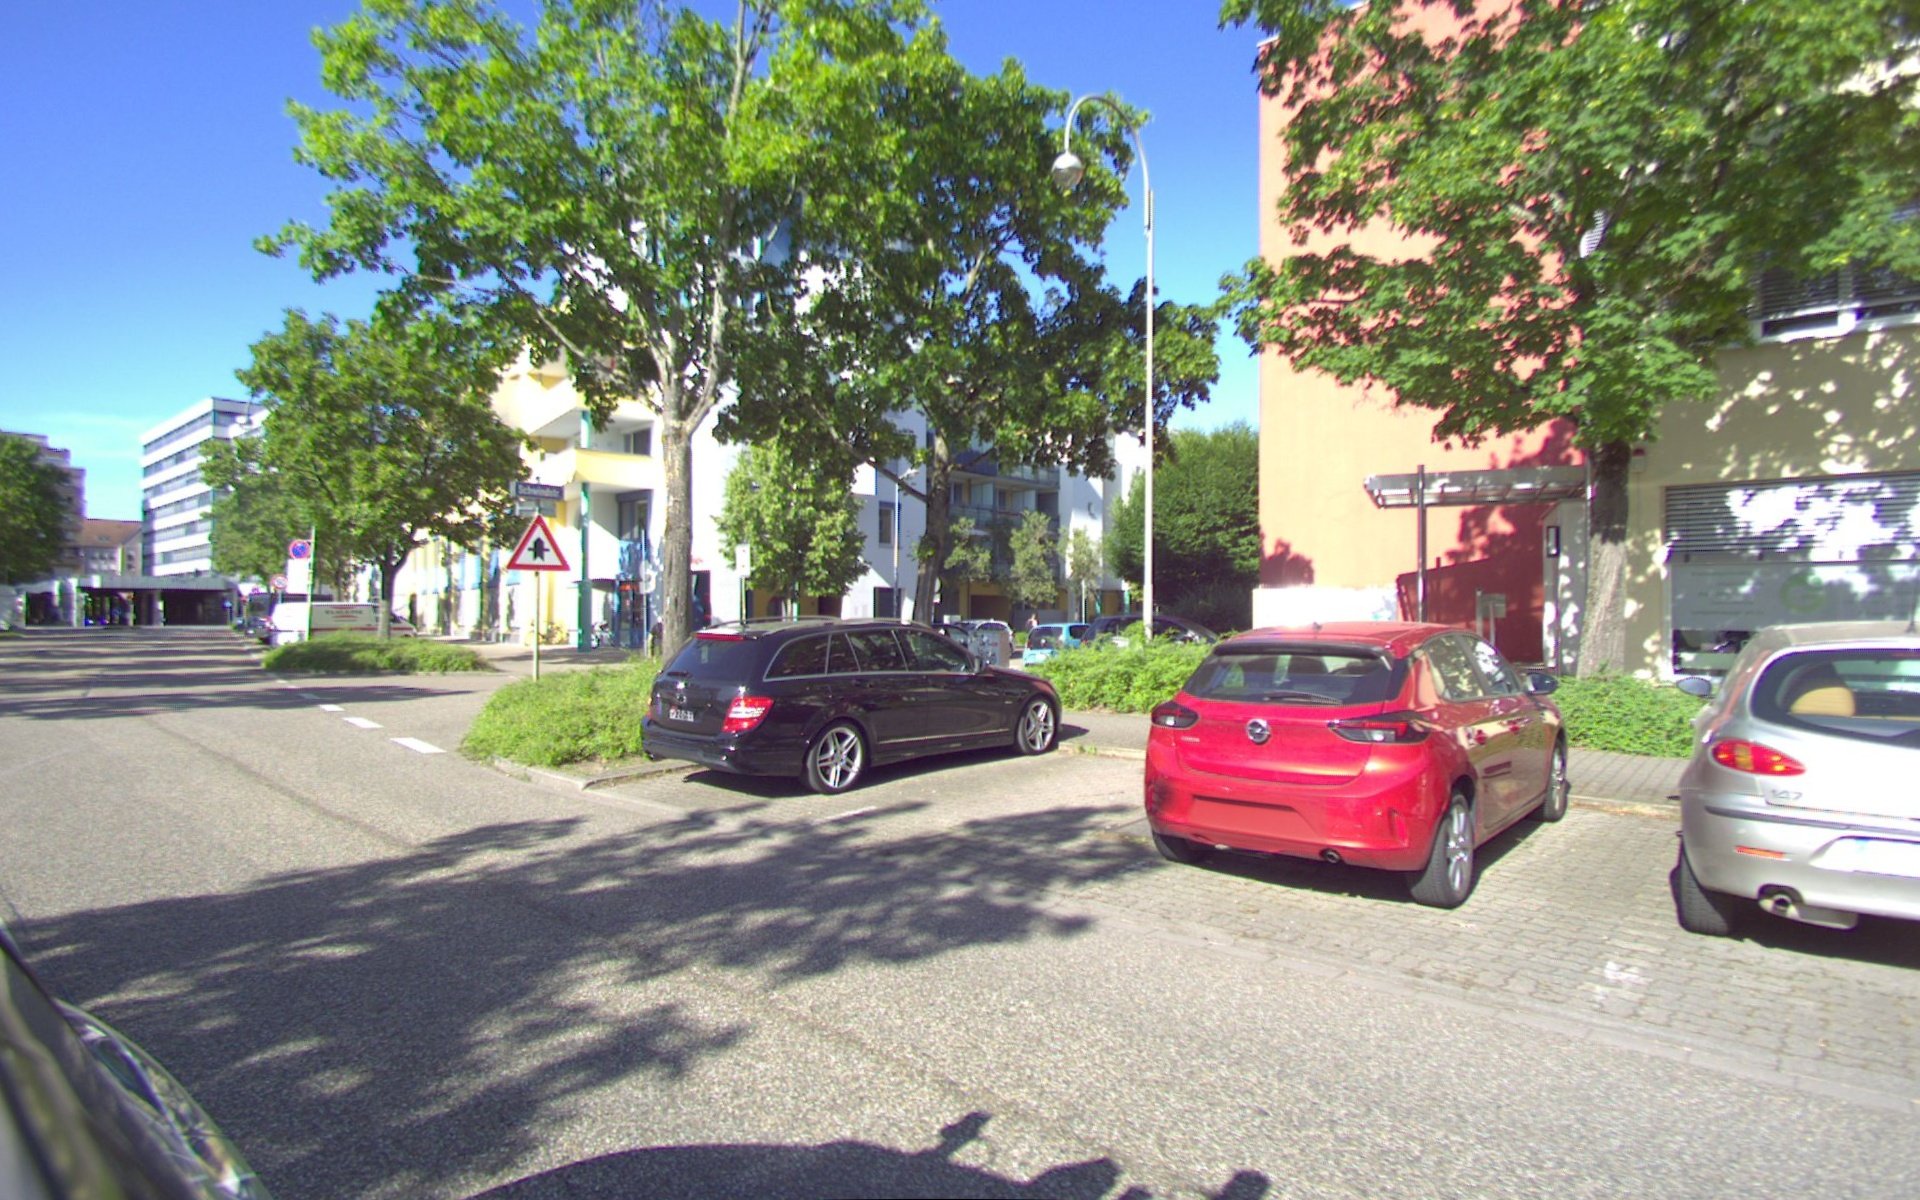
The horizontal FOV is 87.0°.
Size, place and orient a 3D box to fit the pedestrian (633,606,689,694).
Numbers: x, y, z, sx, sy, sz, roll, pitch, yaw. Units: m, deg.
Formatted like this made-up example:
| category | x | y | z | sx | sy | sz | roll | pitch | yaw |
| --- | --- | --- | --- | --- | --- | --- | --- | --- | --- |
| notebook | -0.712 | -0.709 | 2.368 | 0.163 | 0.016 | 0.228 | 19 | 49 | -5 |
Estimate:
| category | x | y | z | sx | sy | sz | roll | pitch | yaw |
| --- | --- | --- | --- | --- | --- | --- | --- | --- | --- |
| pedestrian | -6.091 | 1.002 | 20.609 | 1.022 | 1.739 | 0.649 | -1 | -3 | 45 |

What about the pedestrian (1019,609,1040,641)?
| category | x | y | z | sx | sy | sz | roll | pitch | yaw |
| --- | --- | --- | --- | --- | --- | --- | --- | --- | --- |
| pedestrian | 3.280 | 1.165 | 47.527 | 0.680 | 1.500 | 0.837 | 0 | -2 | 33 |

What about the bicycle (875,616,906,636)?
| category | x | y | z | sx | sy | sz | roll | pitch | yaw |
| --- | --- | --- | --- | --- | --- | --- | --- | --- | --- |
| bicycle | -3.260 | 1.221 | 47.421 | 0.287 | 0.878 | 1.780 | 0 | -2 | 39 |

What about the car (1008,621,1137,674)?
| category | x | y | z | sx | sy | sz | roll | pitch | yaw |
| --- | --- | --- | --- | --- | --- | --- | --- | --- | --- |
| car | 3.430 | 1.413 | 30.274 | 1.935 | 1.461 | 3.954 | -4 | -4 | 40 |

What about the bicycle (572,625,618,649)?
| category | x | y | z | sx | sy | sz | roll | pitch | yaw |
| --- | --- | --- | --- | --- | --- | --- | --- | --- | --- |
| bicycle | -14.558 | 1.473 | 40.370 | 0.490 | 0.878 | 1.783 | 0 | 0 | 34 |

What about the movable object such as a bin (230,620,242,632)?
| category | x | y | z | sx | sy | sz | roll | pitch | yaw |
| --- | --- | --- | --- | --- | --- | --- | --- | --- | --- |
| movable object such as a bin | -66.599 | 2.380 | 93.107 | 0.665 | 1.082 | 0.804 | 1 | -1 | -12 |

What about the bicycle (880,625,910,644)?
| category | x | y | z | sx | sy | sz | roll | pitch | yaw |
| --- | --- | --- | --- | --- | --- | --- | --- | --- | --- |
| bicycle | -3.021 | 1.602 | 47.153 | 0.287 | 0.878 | 1.780 | 0 | -2 | 39 |

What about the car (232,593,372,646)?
| category | x | y | z | sx | sy | sz | roll | pitch | yaw |
| --- | --- | --- | --- | --- | --- | --- | --- | --- | --- |
| car | -32.272 | 0.925 | 49.832 | 2.175 | 2.455 | 5.456 | -1 | -1 | 26 |

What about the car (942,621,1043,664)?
| category | x | y | z | sx | sy | sz | roll | pitch | yaw |
| --- | --- | --- | --- | --- | --- | --- | --- | --- | --- |
| car | 1.399 | 1.711 | 41.844 | 1.999 | 1.606 | 4.191 | -2 | -1 | 40 |

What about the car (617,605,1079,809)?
| category | x | y | z | sx | sy | sz | roll | pitch | yaw |
| --- | --- | --- | --- | --- | --- | --- | --- | --- | --- |
| car | -0.857 | 0.809 | 9.600 | 1.740 | 1.434 | 4.215 | -1 | 0 | 44 |

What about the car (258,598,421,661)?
| category | x | y | z | sx | sy | sz | roll | pitch | yaw |
| --- | --- | --- | --- | --- | --- | --- | --- | --- | --- |
| car | -21.497 | 0.992 | 35.307 | 1.983 | 2.000 | 4.743 | -1 | -1 | 17 |

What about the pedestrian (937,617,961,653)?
| category | x | y | z | sx | sy | sz | roll | pitch | yaw |
| --- | --- | --- | --- | --- | --- | --- | --- | --- | --- |
| pedestrian | -0.472 | 1.520 | 43.887 | 0.719 | 1.525 | 0.788 | -1 | 0 | 39 |

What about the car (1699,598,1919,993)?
| category | x | y | z | sx | sy | sz | roll | pitch | yaw |
| --- | --- | --- | --- | --- | --- | --- | --- | --- | --- |
| car | 5.001 | 0.727 | 5.106 | 1.738 | 1.434 | 3.851 | -1 | 0 | 41 |

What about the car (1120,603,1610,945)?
| category | x | y | z | sx | sy | sz | roll | pitch | yaw |
| --- | --- | --- | --- | --- | --- | --- | --- | --- | --- |
| car | 2.797 | 0.774 | 6.456 | 1.738 | 1.434 | 3.851 | -1 | 0 | 41 |

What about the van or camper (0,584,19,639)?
| category | x | y | z | sx | sy | sz | roll | pitch | yaw |
| --- | --- | --- | --- | --- | --- | --- | --- | --- | --- |
| van or camper | -54.920 | 0.476 | 54.438 | 5.904 | 3.006 | 2.676 | 5 | -4 | -38 |

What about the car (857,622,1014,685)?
| category | x | y | z | sx | sy | sz | roll | pitch | yaw |
| --- | --- | --- | --- | --- | --- | --- | --- | --- | --- |
| car | -0.552 | 1.346 | 25.736 | 1.802 | 1.458 | 3.941 | -4 | -4 | 40 |

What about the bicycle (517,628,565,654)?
| category | x | y | z | sx | sy | sz | roll | pitch | yaw |
| --- | --- | --- | --- | --- | --- | --- | --- | --- | --- |
| bicycle | -17.995 | 1.771 | 43.494 | 1.774 | 1.106 | 0.703 | 3 | -2 | -36 |

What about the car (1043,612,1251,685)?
| category | x | y | z | sx | sy | sz | roll | pitch | yaw |
| --- | --- | --- | --- | --- | --- | --- | --- | --- | --- |
| car | 4.031 | 1.019 | 21.925 | 4.115 | 1.454 | 1.721 | -1 | -3 | 30 |

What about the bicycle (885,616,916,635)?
| category | x | y | z | sx | sy | sz | roll | pitch | yaw |
| --- | --- | --- | --- | --- | --- | --- | --- | --- | --- |
| bicycle | -2.761 | 1.190 | 46.961 | 0.287 | 0.878 | 1.780 | 0 | -2 | 39 |
